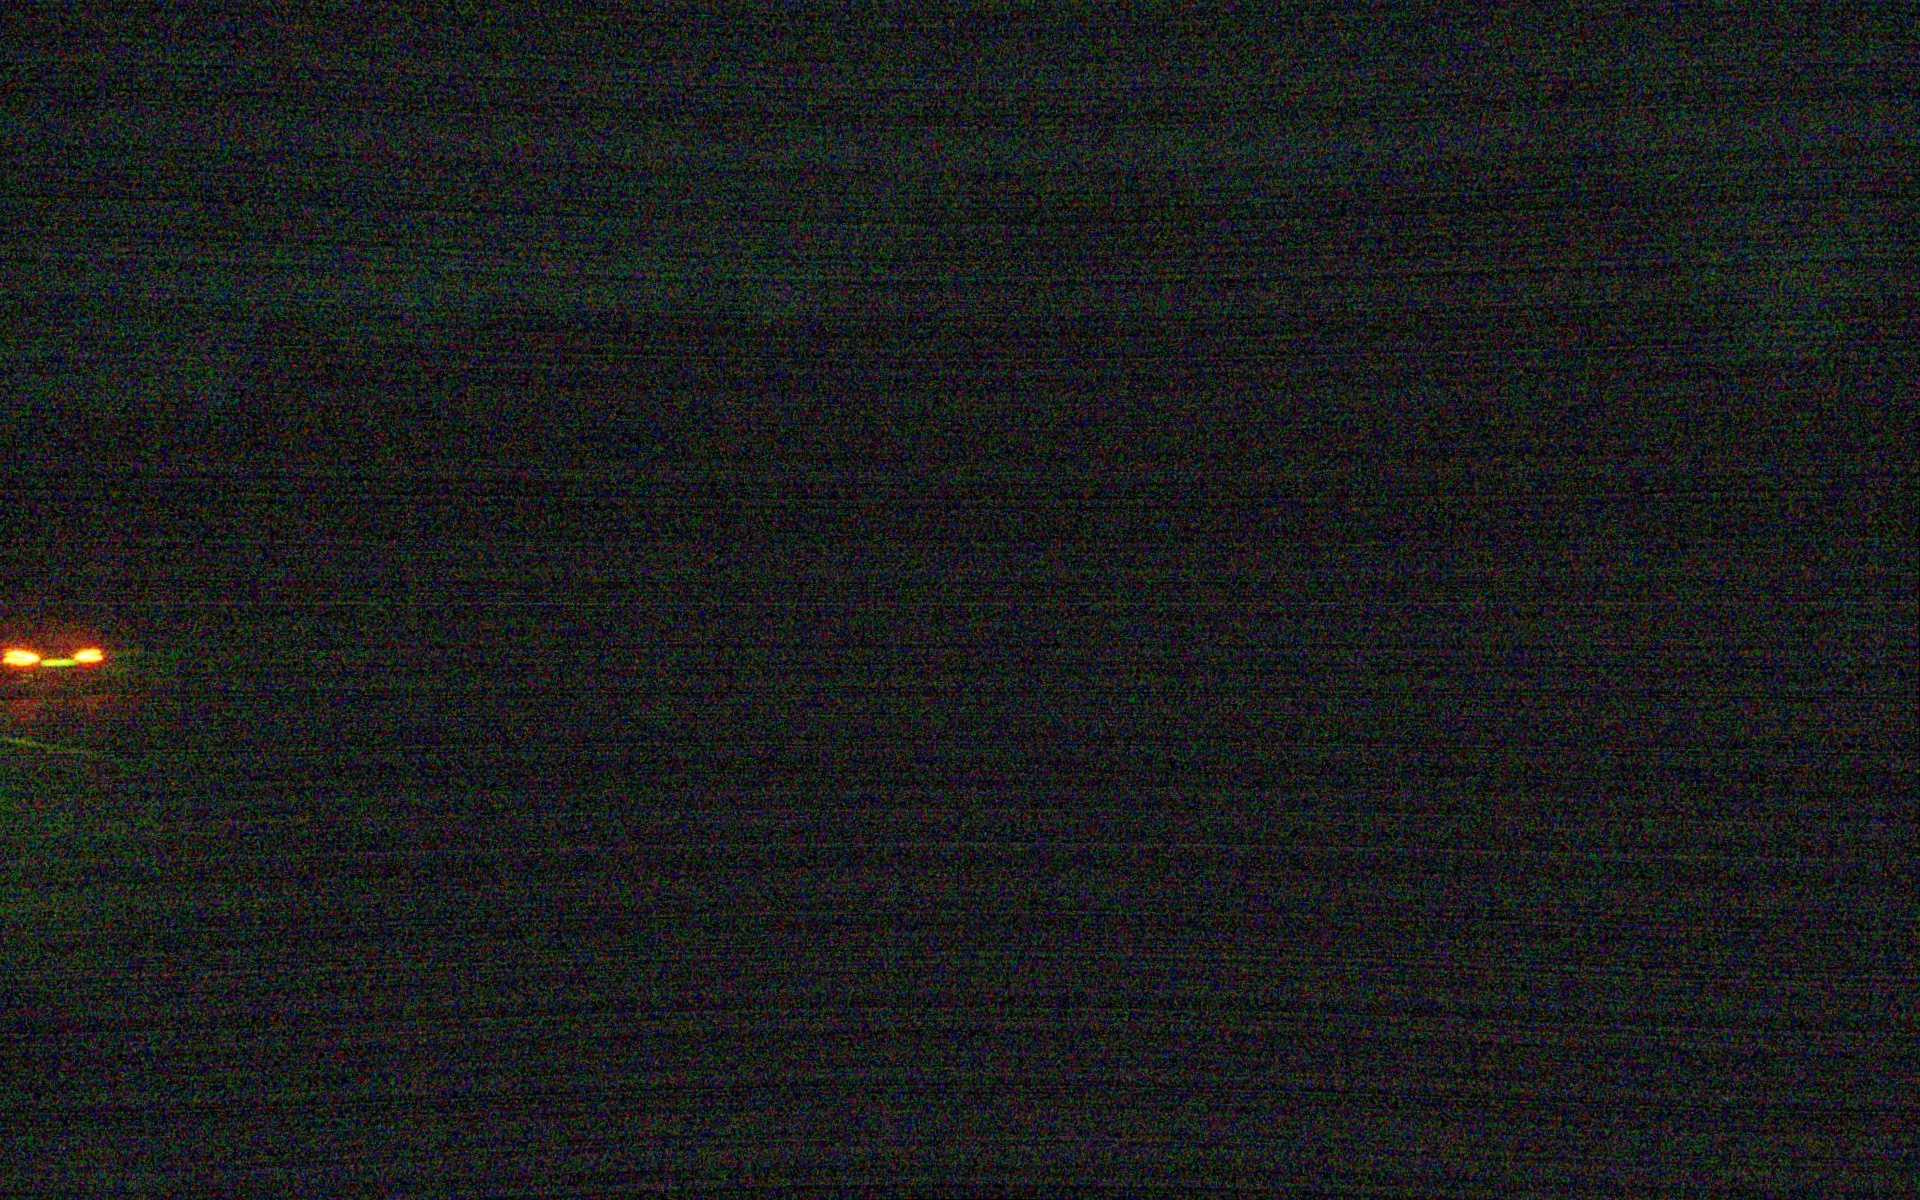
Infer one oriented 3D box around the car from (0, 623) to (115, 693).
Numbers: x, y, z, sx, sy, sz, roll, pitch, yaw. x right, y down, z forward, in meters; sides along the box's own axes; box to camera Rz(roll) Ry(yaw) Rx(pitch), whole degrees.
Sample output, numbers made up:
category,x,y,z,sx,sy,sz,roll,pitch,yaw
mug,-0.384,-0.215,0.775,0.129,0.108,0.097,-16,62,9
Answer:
category,x,y,z,sx,sy,sz,roll,pitch,yaw
car,-21.604,1.305,23.287,4.187,1.485,1.818,-1,-2,32
